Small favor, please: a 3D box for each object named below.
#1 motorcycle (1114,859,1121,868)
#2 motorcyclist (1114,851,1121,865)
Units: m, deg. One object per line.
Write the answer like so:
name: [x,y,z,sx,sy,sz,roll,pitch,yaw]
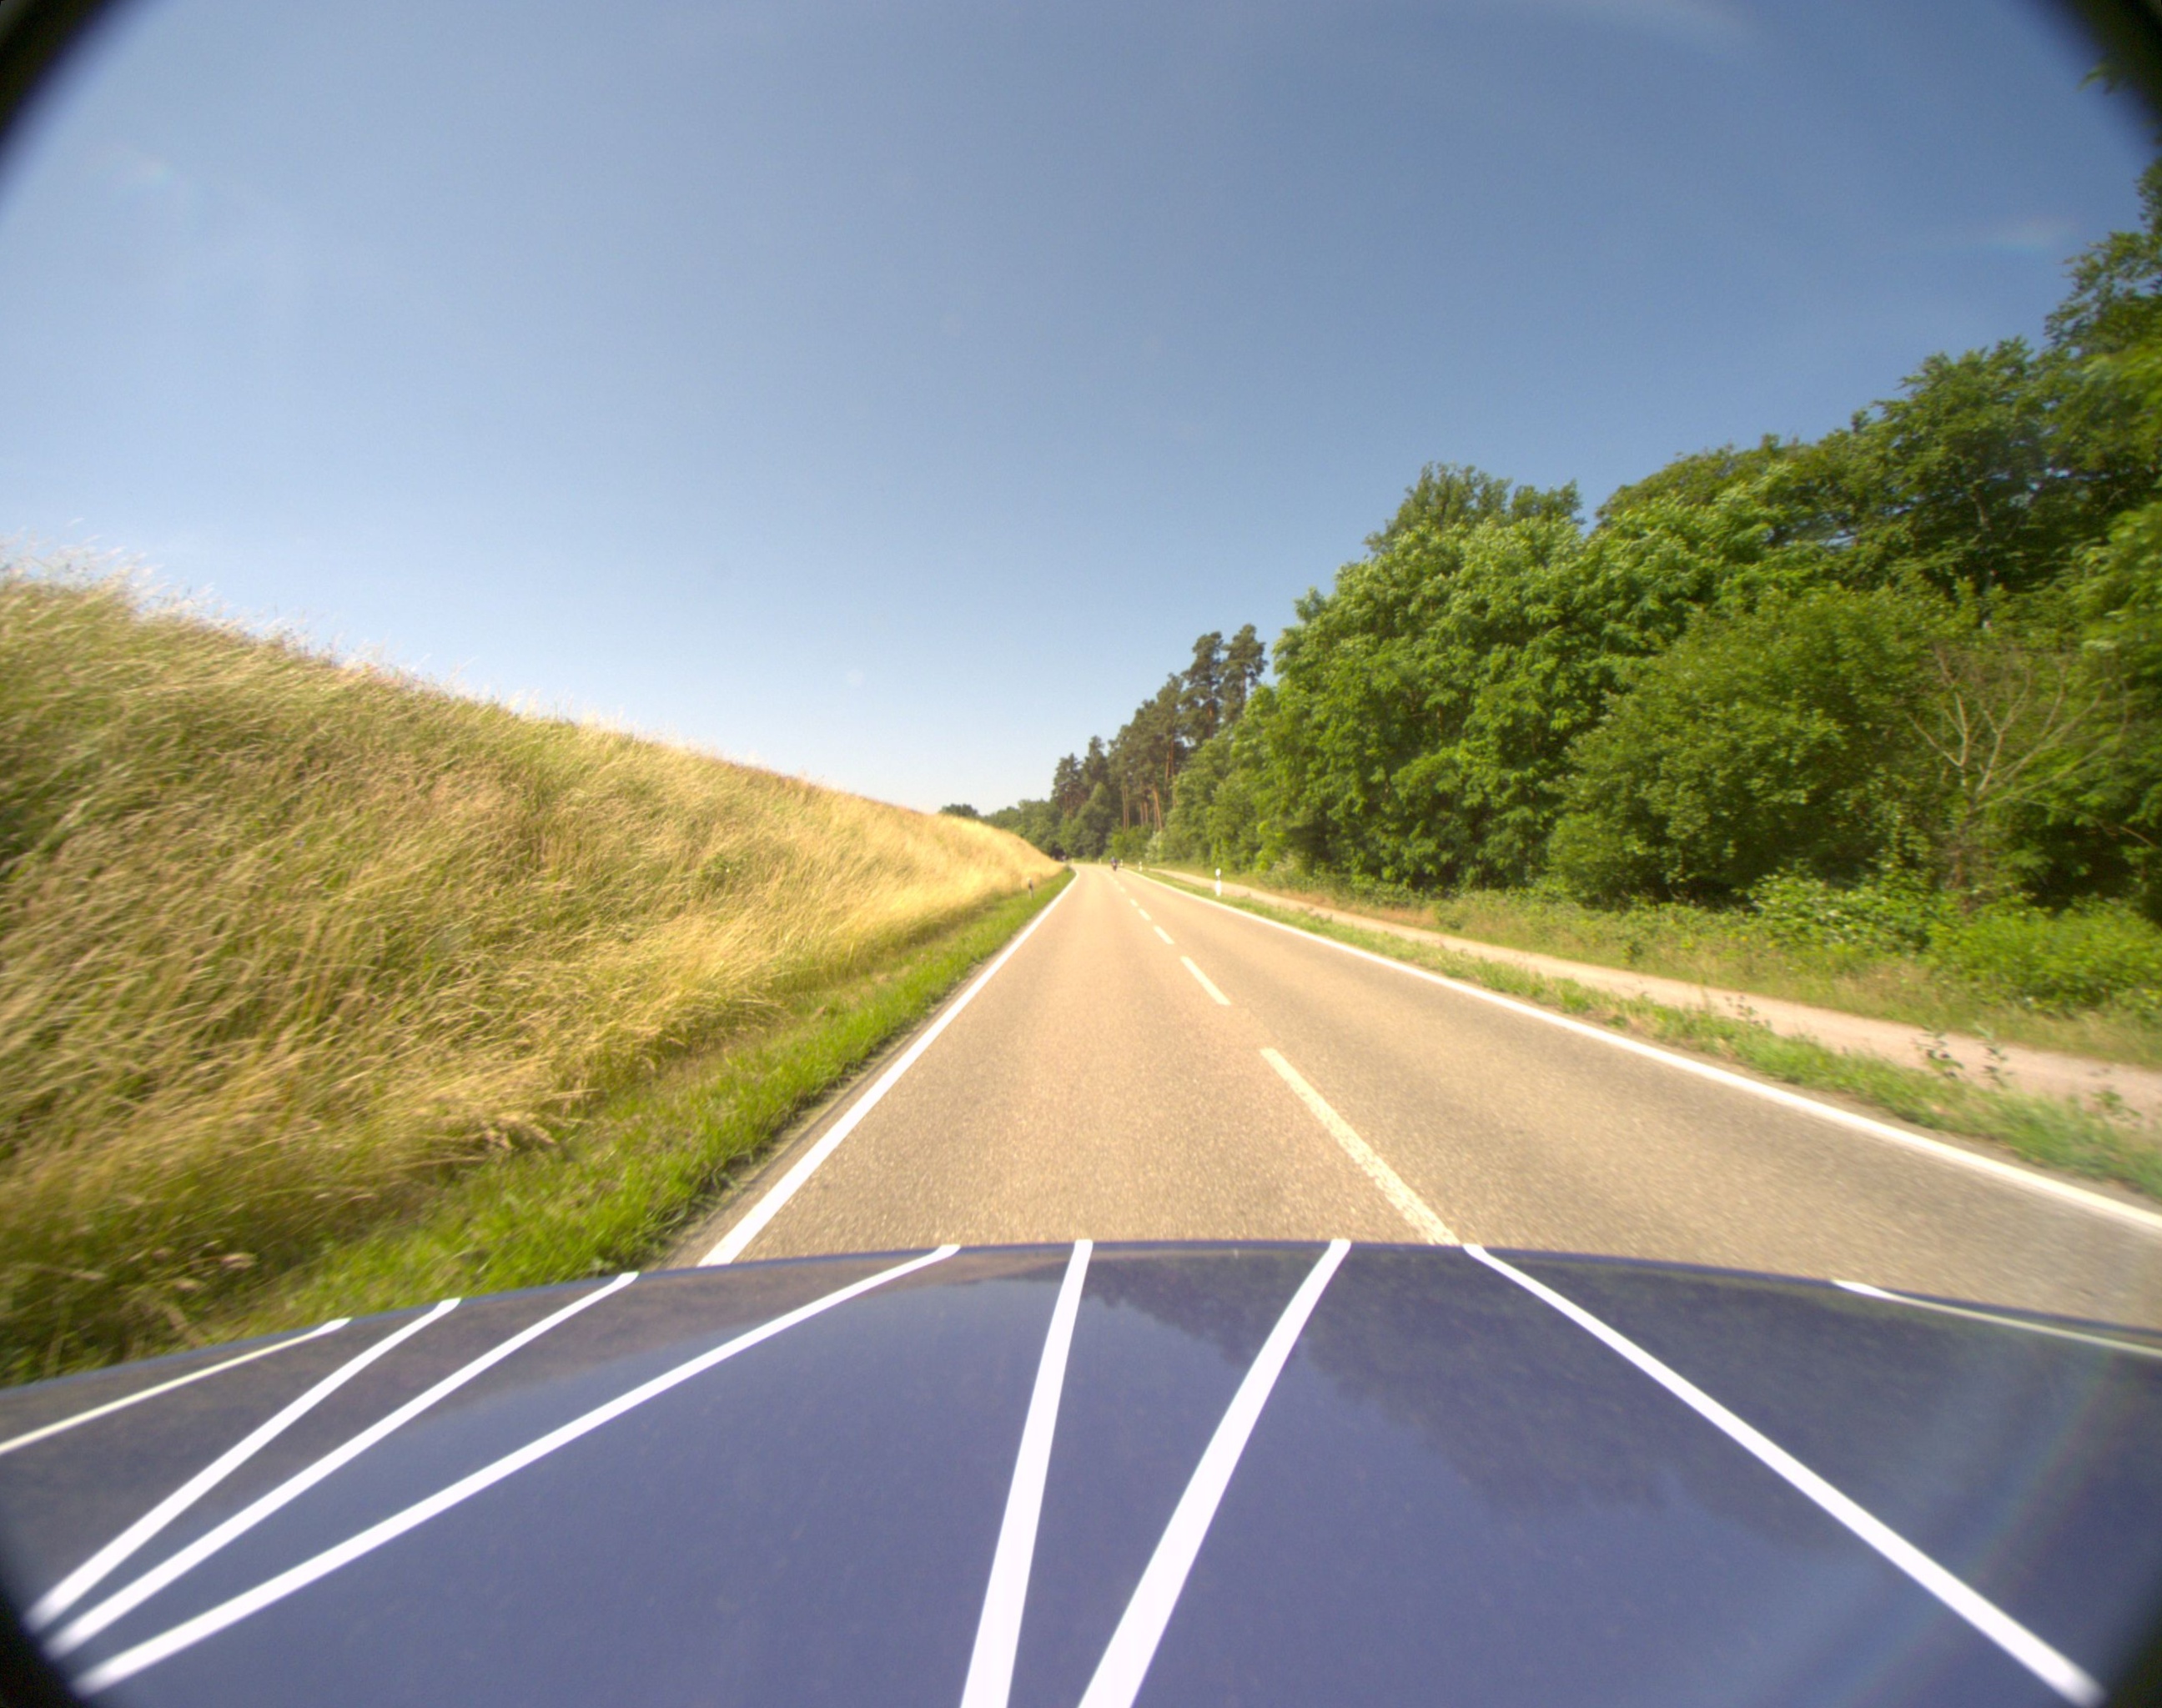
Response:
motorcycle: [4.184,1.131,87.785,0.640,0.979,2.006,2,0,0]
motorcyclist: [4.235,0.450,87.704,0.661,1.519,0.814,2,0,-1]
